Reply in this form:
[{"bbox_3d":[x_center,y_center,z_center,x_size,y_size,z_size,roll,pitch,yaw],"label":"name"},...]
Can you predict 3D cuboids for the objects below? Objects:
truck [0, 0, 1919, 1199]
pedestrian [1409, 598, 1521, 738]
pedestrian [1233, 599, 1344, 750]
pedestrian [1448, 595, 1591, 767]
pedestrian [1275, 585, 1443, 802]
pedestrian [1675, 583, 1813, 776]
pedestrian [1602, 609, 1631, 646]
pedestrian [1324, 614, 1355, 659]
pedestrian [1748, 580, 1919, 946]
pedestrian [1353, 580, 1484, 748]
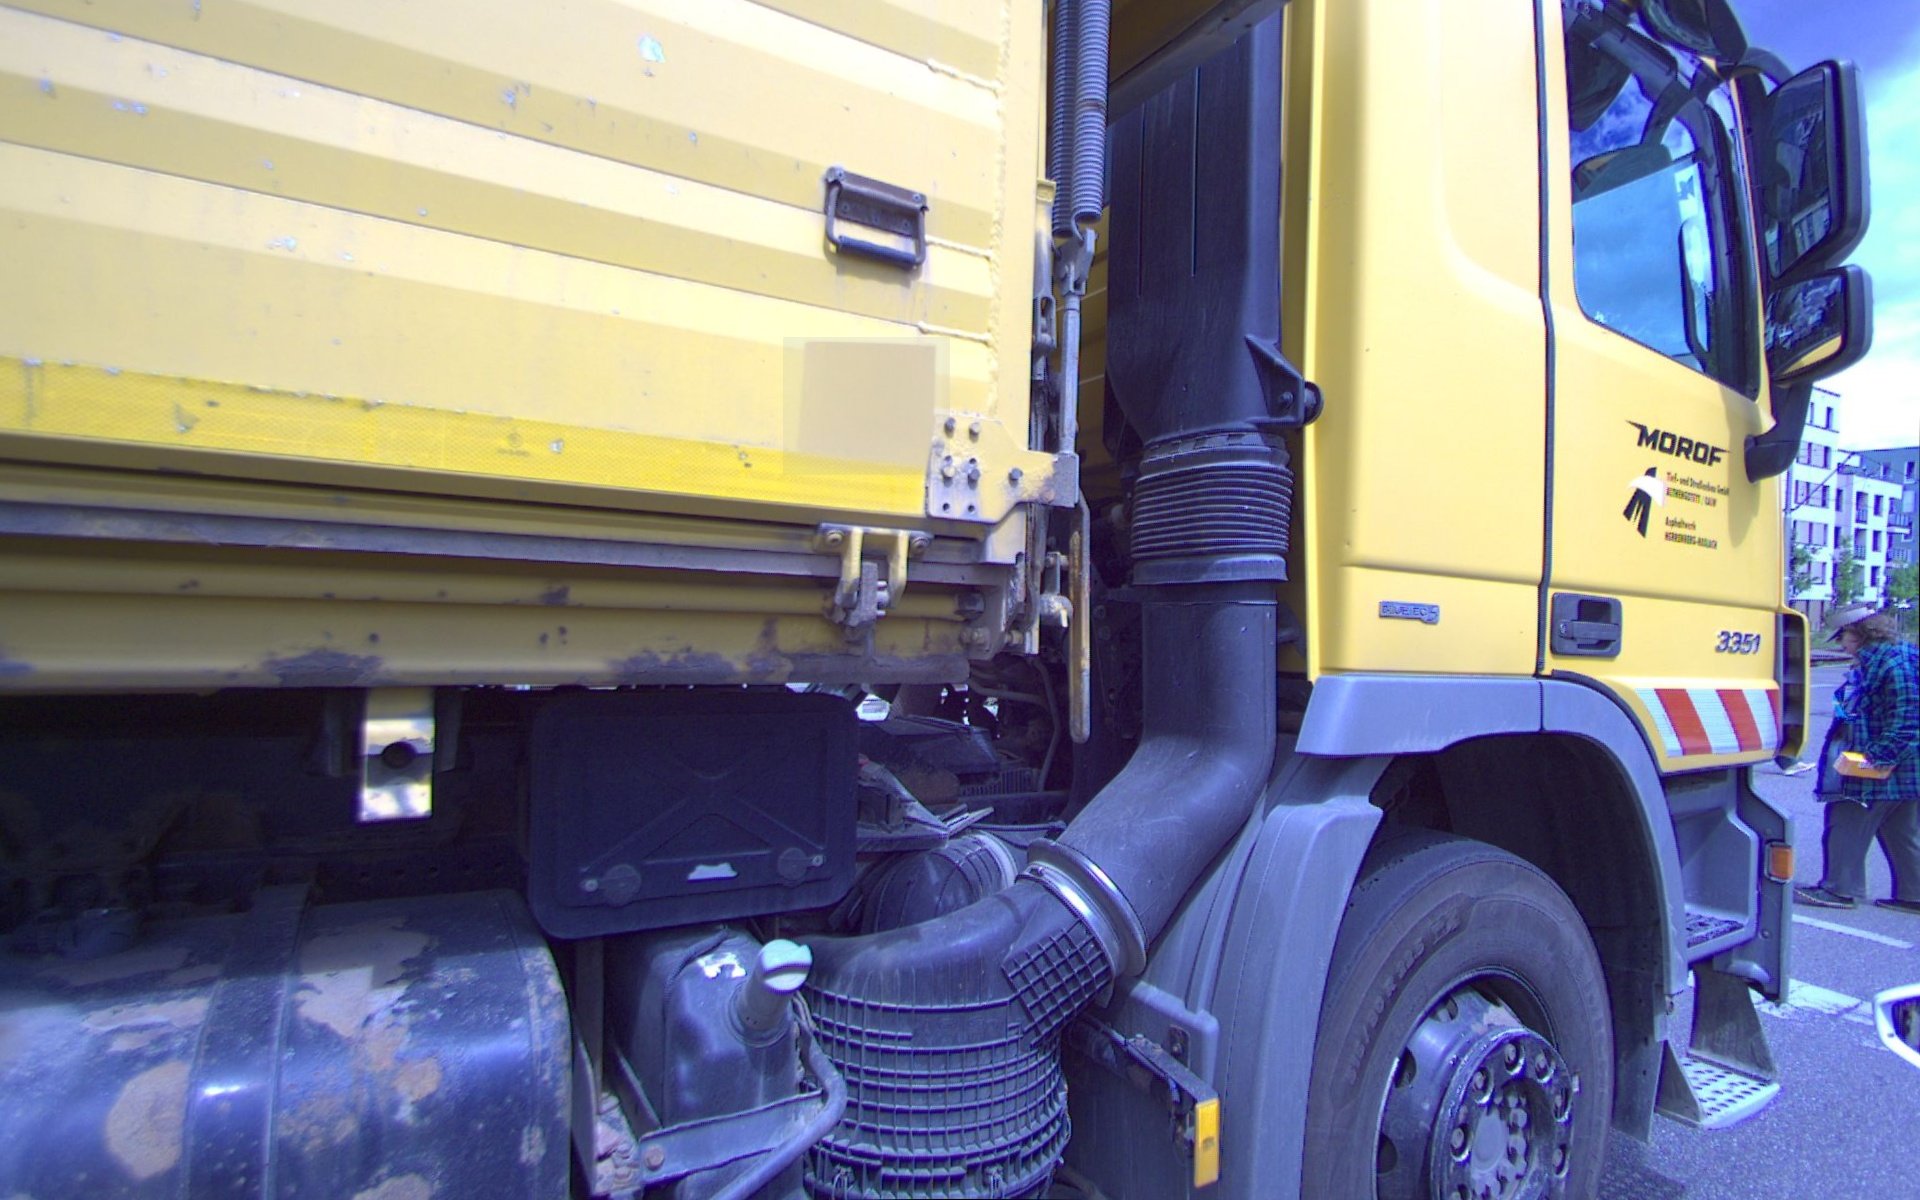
[{"bbox_3d":[-1.703,-0.233,1.621,7.916,3.439,3.033,1,0,-32],"label":"truck"},{"bbox_3d":[6.157,0.789,12.264,0.898,1.618,0.887,1,0,-34],"label":"pedestrian"},{"bbox_3d":[3.594,0.780,11.022,0.737,1.575,0.877,1,0,-29],"label":"pedestrian"},{"bbox_3d":[5.649,0.774,10.166,0.918,1.628,0.908,1,0,-30],"label":"pedestrian"},{"bbox_3d":[3.305,0.723,8.369,0.870,1.670,0.954,1,0,-29],"label":"pedestrian"},{"bbox_3d":[7.581,0.730,9.726,0.818,1.766,0.778,1,0,-30],"label":"pedestrian"},{"bbox_3d":[27.999,1.153,42.829,0.628,1.536,0.827,1,0,-30],"label":"pedestrian"},{"bbox_3d":[14.512,1.393,38.399,1.048,1.670,0.708,1,0,18],"label":"pedestrian"},{"bbox_3d":[4.619,0.756,5.056,0.725,1.693,0.818,1,0,-32],"label":"pedestrian"},{"bbox_3d":[5.215,0.691,11.455,0.918,1.796,0.998,1,0,-29],"label":"pedestrian"}]
